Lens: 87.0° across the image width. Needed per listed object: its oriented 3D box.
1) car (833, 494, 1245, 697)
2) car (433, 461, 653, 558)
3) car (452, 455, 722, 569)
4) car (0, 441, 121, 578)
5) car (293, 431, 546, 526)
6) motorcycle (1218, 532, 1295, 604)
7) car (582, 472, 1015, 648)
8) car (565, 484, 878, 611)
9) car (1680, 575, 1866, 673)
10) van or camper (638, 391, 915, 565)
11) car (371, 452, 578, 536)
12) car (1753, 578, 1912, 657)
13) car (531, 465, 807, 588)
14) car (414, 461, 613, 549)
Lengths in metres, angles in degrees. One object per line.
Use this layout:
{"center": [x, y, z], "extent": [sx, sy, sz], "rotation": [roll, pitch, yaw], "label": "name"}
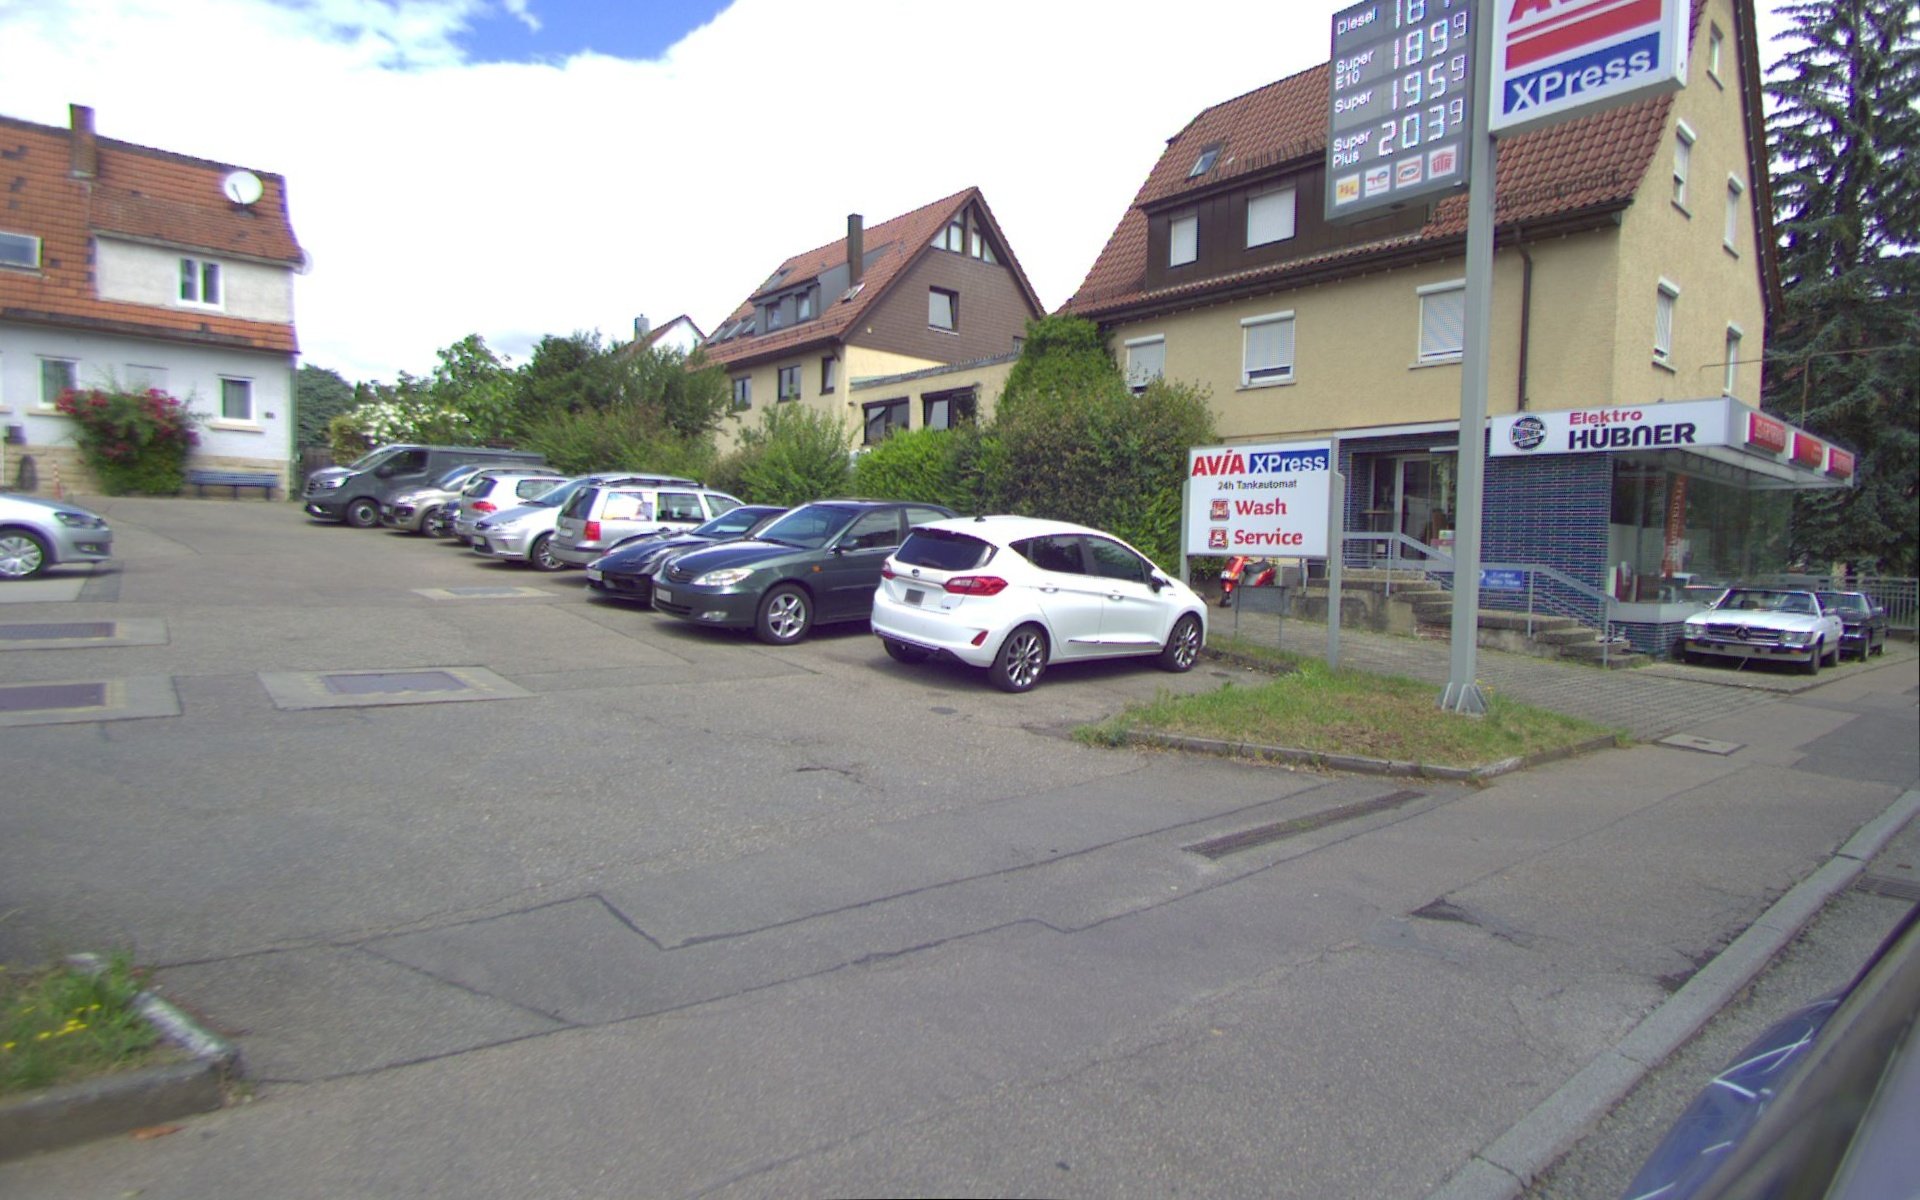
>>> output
{"center": [0.936, -0.147, 10.027], "extent": [4.134, 1.546, 1.638], "rotation": [-2, 8, -43], "label": "car"}
{"center": [-7.690, -1.647, 18.808], "extent": [3.440, 1.587, 1.570], "rotation": [-2, 8, -43], "label": "car"}
{"center": [-6.235, -1.458, 17.176], "extent": [3.981, 1.702, 1.570], "rotation": [-2, 8, -43], "label": "car"}
{"center": [-11.860, -1.046, 11.330], "extent": [3.681, 1.517, 1.636], "rotation": [-4, 9, -39], "label": "car"}
{"center": [-12.842, -2.857, 24.276], "extent": [5.051, 1.940, 1.923], "rotation": [-2, 8, -43], "label": "car"}
{"center": [6.005, -0.663, 20.465], "extent": [1.874, 1.325, 0.403], "rotation": [-5, 11, -39], "label": "motorcycle"}
{"center": [-1.636, -0.494, 11.379], "extent": [4.577, 1.559, 1.716], "rotation": [-2, 8, -42], "label": "car"}
{"center": [-3.060, -0.711, 13.392], "extent": [3.684, 1.387, 1.640], "rotation": [-2, 8, -43], "label": "car"}
{"center": [13.690, 0.299, 16.947], "extent": [4.407, 1.332, 1.787], "rotation": [-2, 5, -43], "label": "car"}
{"center": [-3.831, -2.442, 20.036], "extent": [2.489, 2.883, 5.973], "rotation": [-1, 7, -43], "label": "van or camper"}
{"center": [-10.810, -2.337, 22.682], "extent": [3.886, 1.650, 1.570], "rotation": [-2, 8, -43], "label": "car"}
{"center": [17.430, 0.266, 20.151], "extent": [4.242, 1.299, 1.788], "rotation": [-1, 5, -42], "label": "car"}
{"center": [-4.363, -1.113, 15.435], "extent": [3.684, 1.603, 1.640], "rotation": [-2, 8, -43], "label": "car"}
{"center": [-9.153, -1.932, 20.868], "extent": [3.440, 1.587, 1.570], "rotation": [-2, 8, -43], "label": "car"}
